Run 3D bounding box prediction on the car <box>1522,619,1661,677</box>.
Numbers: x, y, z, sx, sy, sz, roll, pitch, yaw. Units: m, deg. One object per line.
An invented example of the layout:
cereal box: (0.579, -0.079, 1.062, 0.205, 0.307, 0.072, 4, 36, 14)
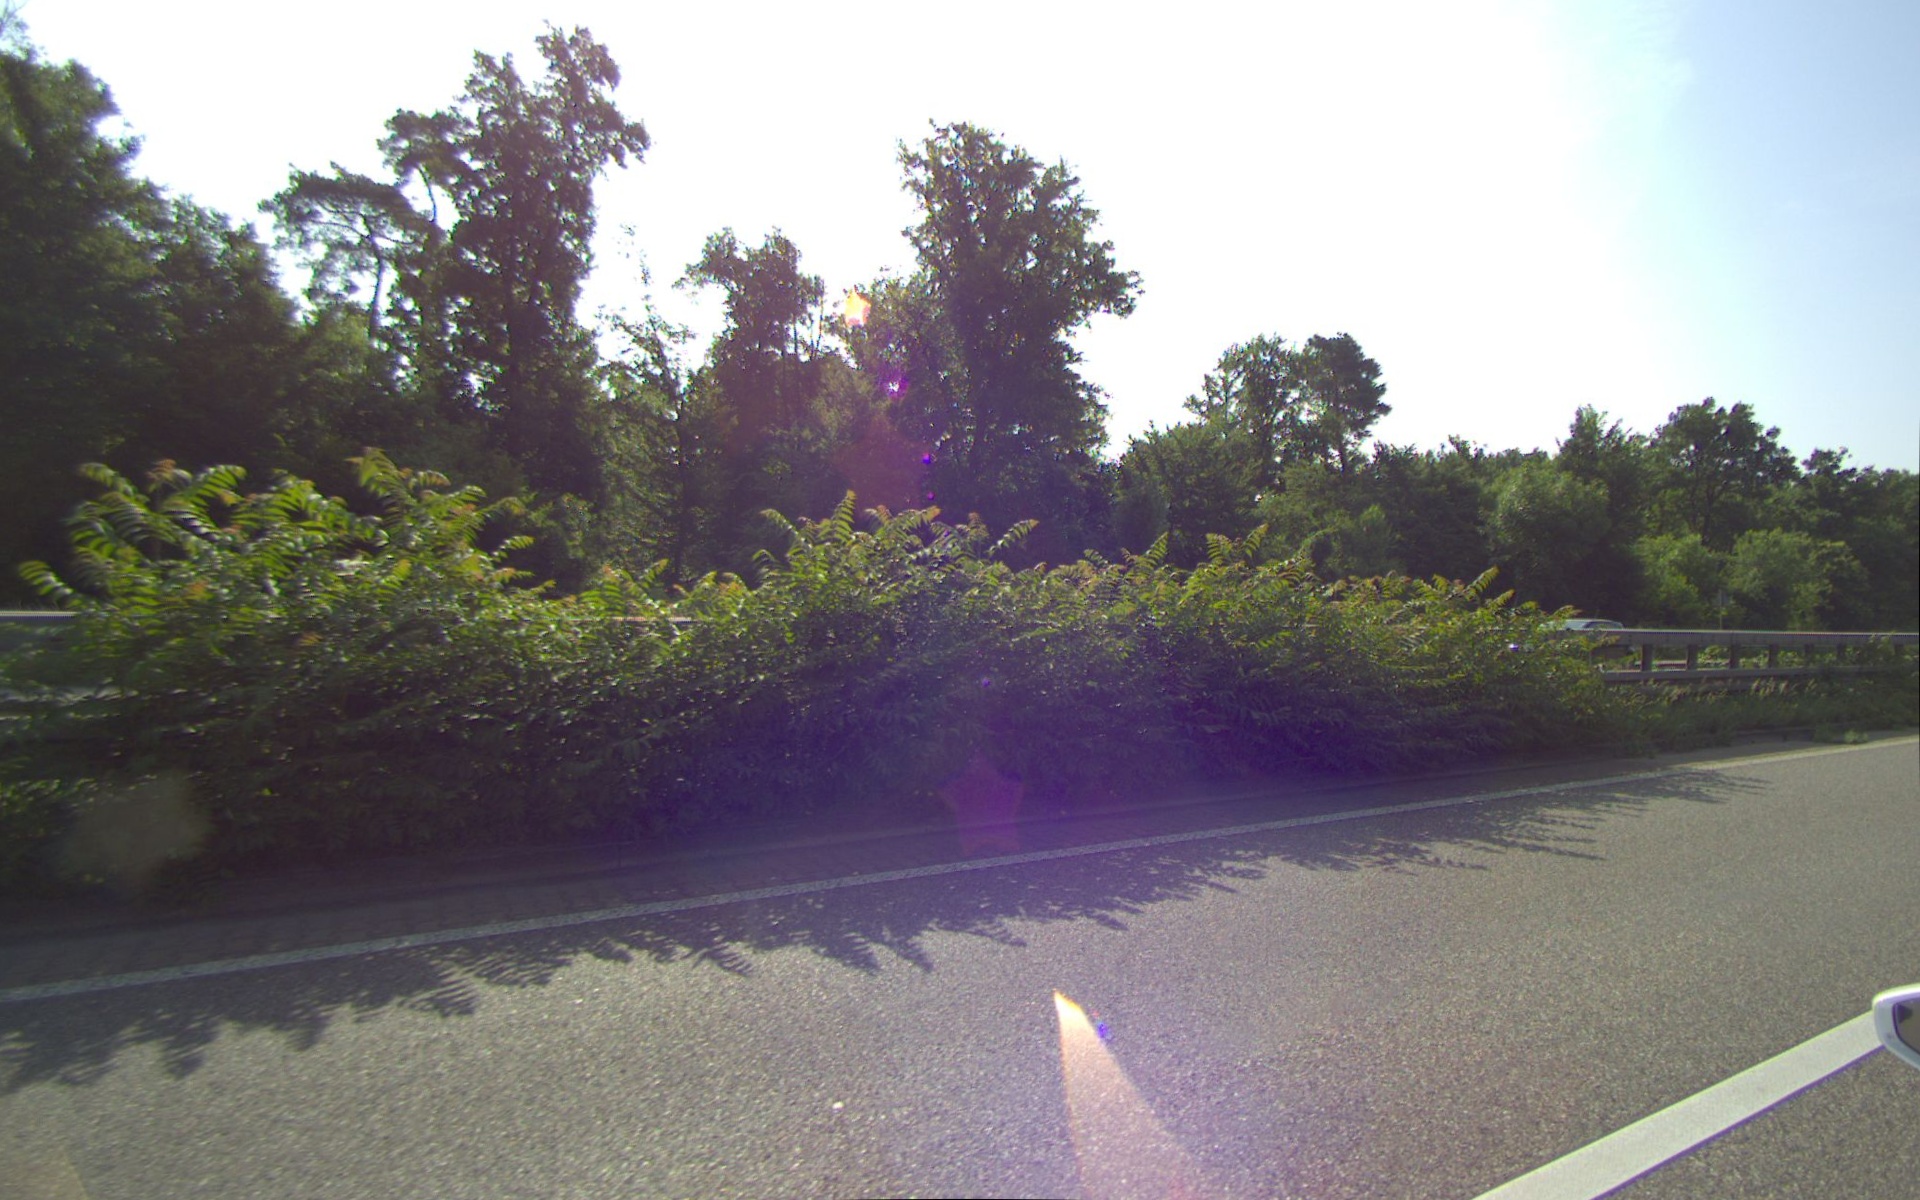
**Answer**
car: (17.138, 1.268, 27.219, 3.862, 1.448, 1.550, 1, 0, -30)
